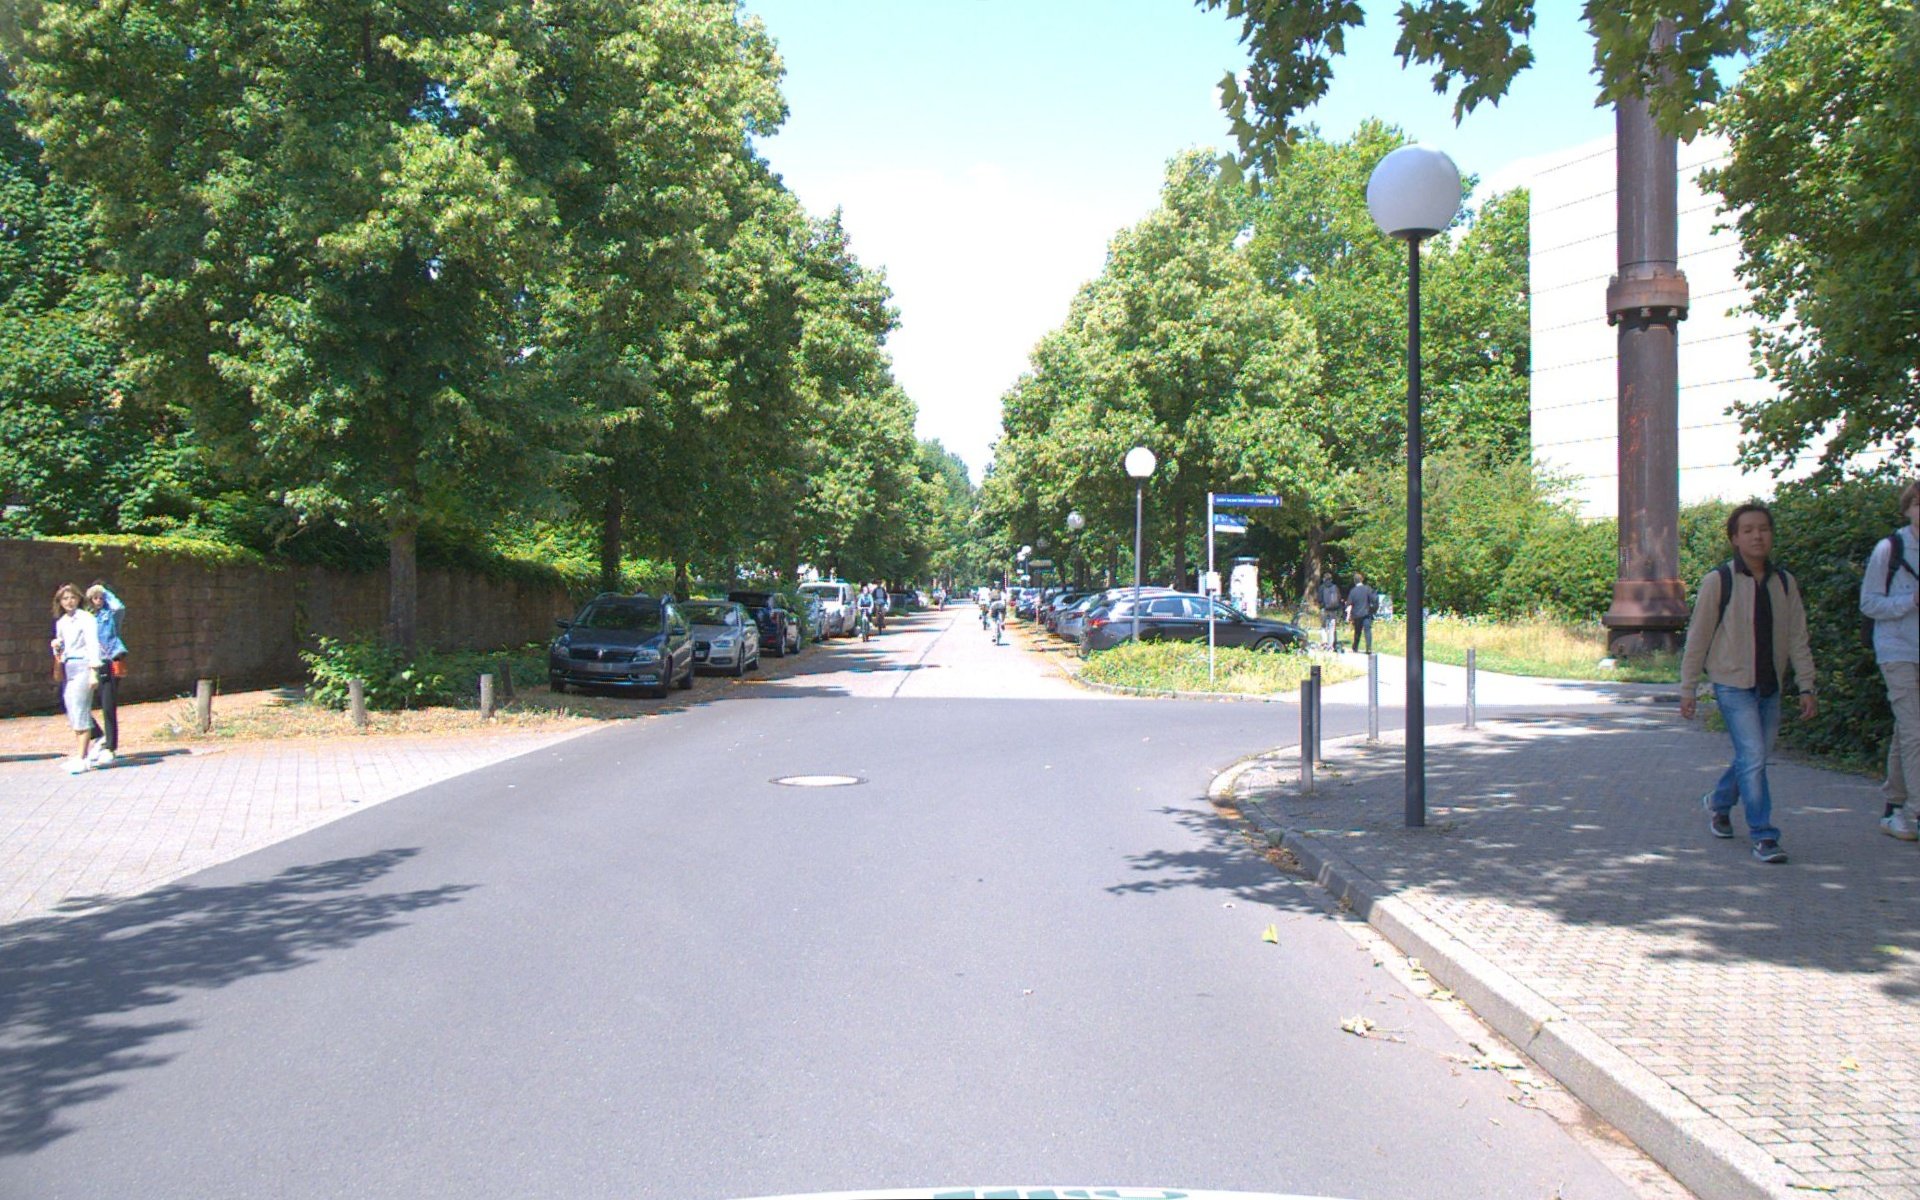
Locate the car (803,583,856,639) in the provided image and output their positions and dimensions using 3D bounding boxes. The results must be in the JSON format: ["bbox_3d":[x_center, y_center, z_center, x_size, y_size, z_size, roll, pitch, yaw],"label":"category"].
[{"bbox_3d":[-4.487,0.357,57.289,1.583,1.847,3.999,0,0,-1],"label":"car"}]

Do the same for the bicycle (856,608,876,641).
[{"bbox_3d":[-2.926,0.756,51.732,0.566,1.018,1.423,0,0,-1],"label":"bicycle"}]

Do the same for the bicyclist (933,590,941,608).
[{"bbox_3d":[-1.698,-0.060,121.672,0.597,1.318,0.611,0,0,-1],"label":"bicyclist"}]

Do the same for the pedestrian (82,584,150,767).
[{"bbox_3d":[-7.656,0.668,14.998,0.490,1.613,0.488,0,0,-34],"label":"pedestrian"}]

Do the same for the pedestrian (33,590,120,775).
[{"bbox_3d":[-7.628,0.694,14.275,0.580,1.553,0.487,0,0,-40],"label":"pedestrian"}]

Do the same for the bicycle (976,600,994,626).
[{"bbox_3d":[1.008,0.541,67.013,0.601,1.018,1.422,2,-1,-3],"label":"bicycle"}]

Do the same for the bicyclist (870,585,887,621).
[{"bbox_3d":[-3.036,0.122,61.436,0.596,1.318,0.611,0,0,-1],"label":"bicyclist"}]

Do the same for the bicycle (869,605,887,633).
[{"bbox_3d":[-3.034,0.685,61.313,0.601,1.018,1.423,0,0,-1],"label":"bicycle"}]

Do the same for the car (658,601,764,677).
[{"bbox_3d":[-4.947,0.747,33.282,1.583,1.412,3.999,0,0,-1],"label":"car"}]

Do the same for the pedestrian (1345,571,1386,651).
[{"bbox_3d":[9.118,0.252,37.172,0.803,1.786,0.629,0,0,5],"label":"pedestrian"}]

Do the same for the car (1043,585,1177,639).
[{"bbox_3d":[4.829,0.382,53.705,4.169,1.616,1.920,-1,0,0],"label":"car"}]

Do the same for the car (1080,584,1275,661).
[{"bbox_3d":[4.870,0.501,37.467,4.169,1.616,1.810,-1,0,0],"label":"car"}]

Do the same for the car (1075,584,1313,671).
[{"bbox_3d":[4.542,0.524,32.560,4.393,1.552,1.810,-1,0,0],"label":"car"}]

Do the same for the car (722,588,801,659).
[{"bbox_3d":[-4.994,0.563,41.969,1.583,1.708,3.999,0,0,-1],"label":"car"}]

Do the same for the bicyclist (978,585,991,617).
[{"bbox_3d":[0.983,0.038,66.928,0.512,1.318,0.610,0,0,-2],"label":"bicyclist"}]

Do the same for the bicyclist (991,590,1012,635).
[{"bbox_3d":[1.219,0.361,48.487,0.597,1.318,0.611,0,0,-1],"label":"bicyclist"}]

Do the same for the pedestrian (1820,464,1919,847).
[{"bbox_3d":[5.016,0.272,8.619,0.657,1.905,0.792,0,0,1],"label":"pedestrian"}]

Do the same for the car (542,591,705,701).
[{"bbox_3d":[-5.114,0.648,25.643,1.724,1.548,4.111,0,0,-1],"label":"car"}]

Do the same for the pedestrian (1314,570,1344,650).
[{"bbox_3d":[8.318,0.233,37.285,0.588,1.786,0.629,0,0,6],"label":"pedestrian"}]

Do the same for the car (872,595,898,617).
[{"bbox_3d":[-4.762,0.385,105.737,1.583,1.388,3.998,0,0,-2],"label":"car"}]

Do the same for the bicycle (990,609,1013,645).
[{"bbox_3d":[1.219,0.794,48.454,0.601,1.018,1.423,0,0,-1],"label":"bicycle"}]

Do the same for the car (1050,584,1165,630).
[{"bbox_3d":[5.547,0.258,62.605,4.169,1.616,1.920,-1,0,0],"label":"car"}]

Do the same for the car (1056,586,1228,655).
[{"bbox_3d":[4.598,0.504,42.192,4.169,1.616,1.810,-1,0,0],"label":"car"}]

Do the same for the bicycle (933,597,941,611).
[{"bbox_3d":[-1.717,0.303,121.669,0.596,1.018,1.423,0,0,-1],"label":"bicycle"}]

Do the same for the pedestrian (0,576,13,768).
[{"bbox_3d":[-8.792,0.633,14.571,0.592,1.692,0.625,0,0,41],"label":"pedestrian"}]

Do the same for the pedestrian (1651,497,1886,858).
[{"bbox_3d":[4.190,0.381,8.635,0.804,1.786,0.840,0,0,-1],"label":"pedestrian"}]

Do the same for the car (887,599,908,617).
[{"bbox_3d":[-4.880,0.591,128.708,1.583,1.388,3.998,0,0,-2],"label":"car"}]

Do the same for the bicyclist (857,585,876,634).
[{"bbox_3d":[-2.929,0.286,51.845,0.552,1.524,0.827,0,0,-1],"label":"bicyclist"}]

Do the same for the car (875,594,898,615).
[{"bbox_3d":[-5.104,0.300,115.542,1.583,1.388,4.560,0,0,-2],"label":"car"}]
